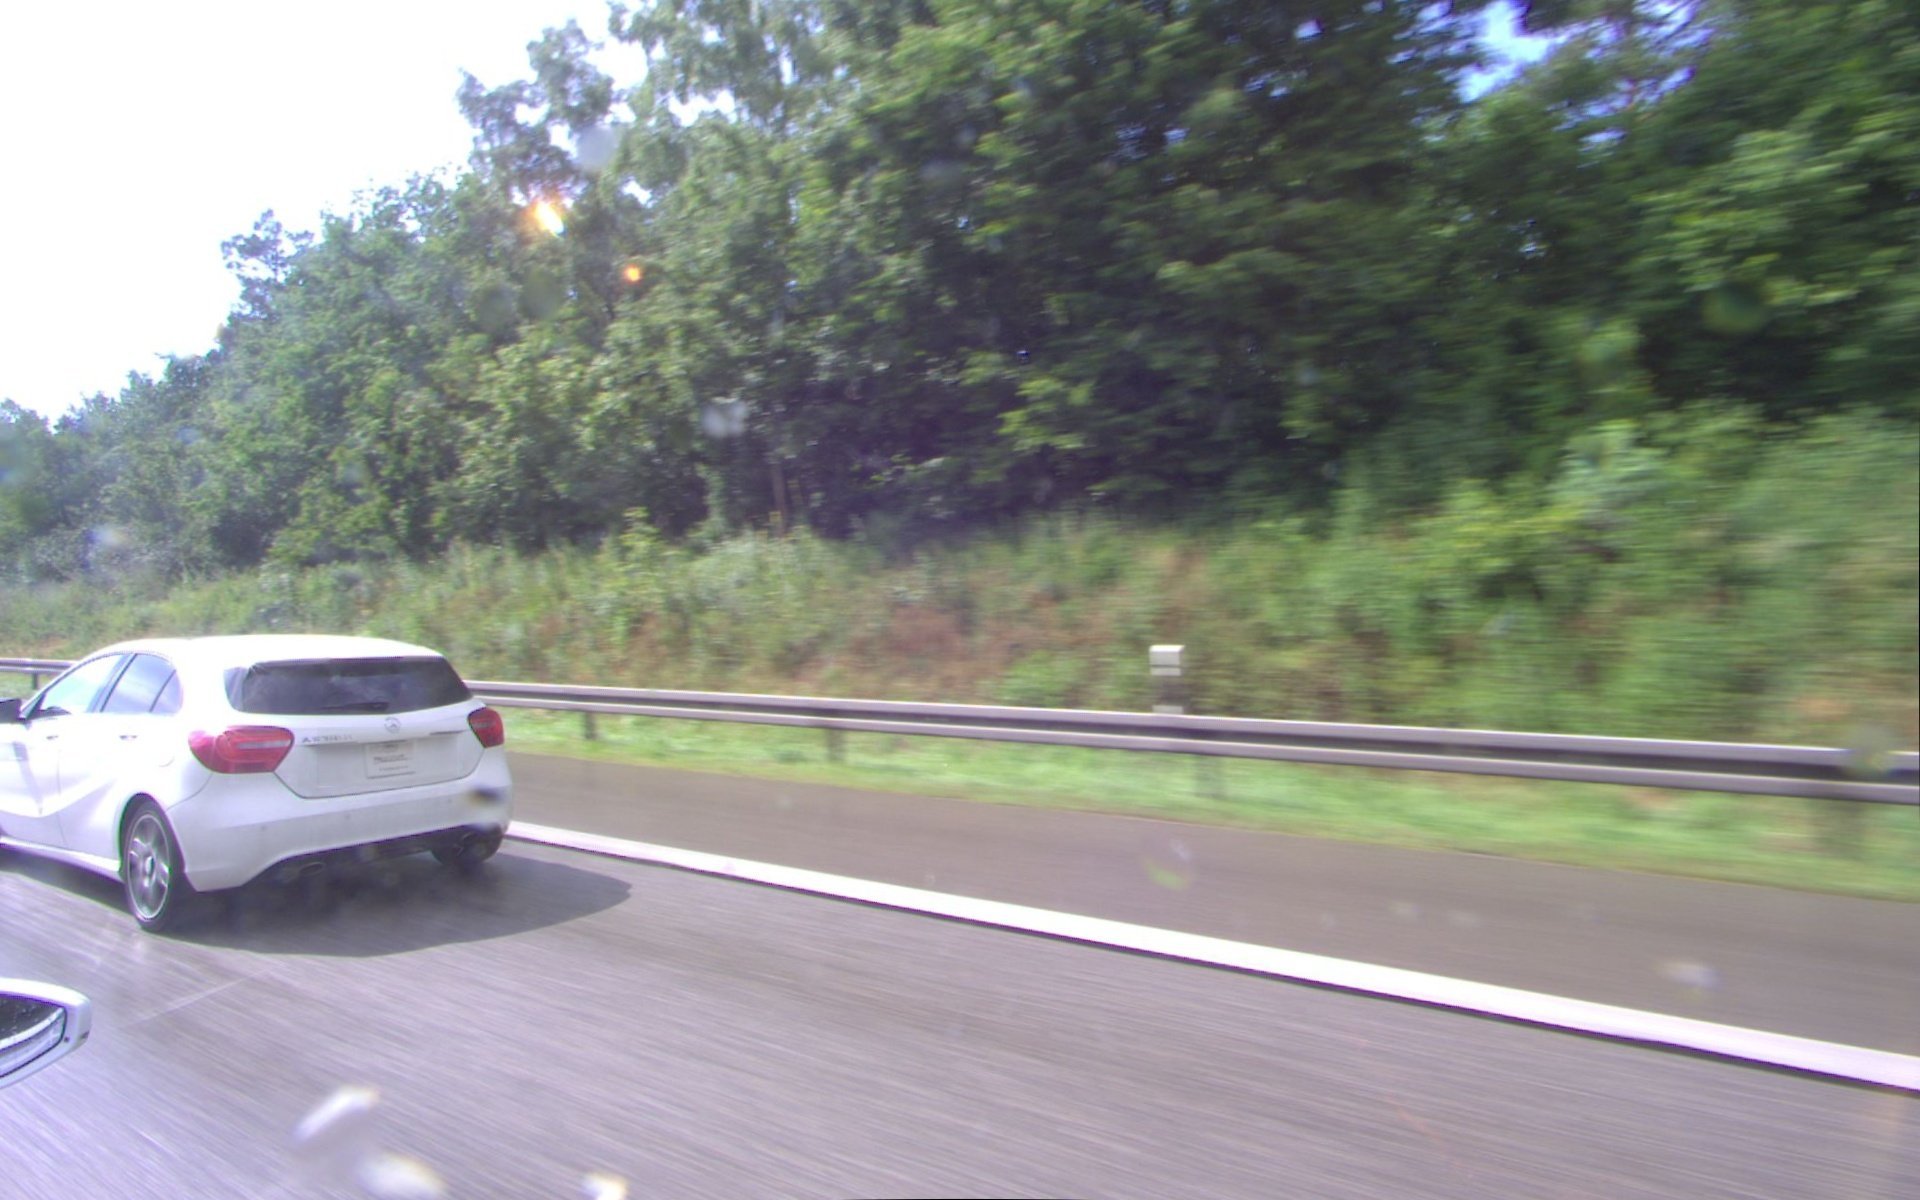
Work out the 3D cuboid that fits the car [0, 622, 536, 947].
[{"bbox_3d":[-4.701,0.875,6.297,4.160,1.443,1.689,-1,-2,32],"label":"car"}]
